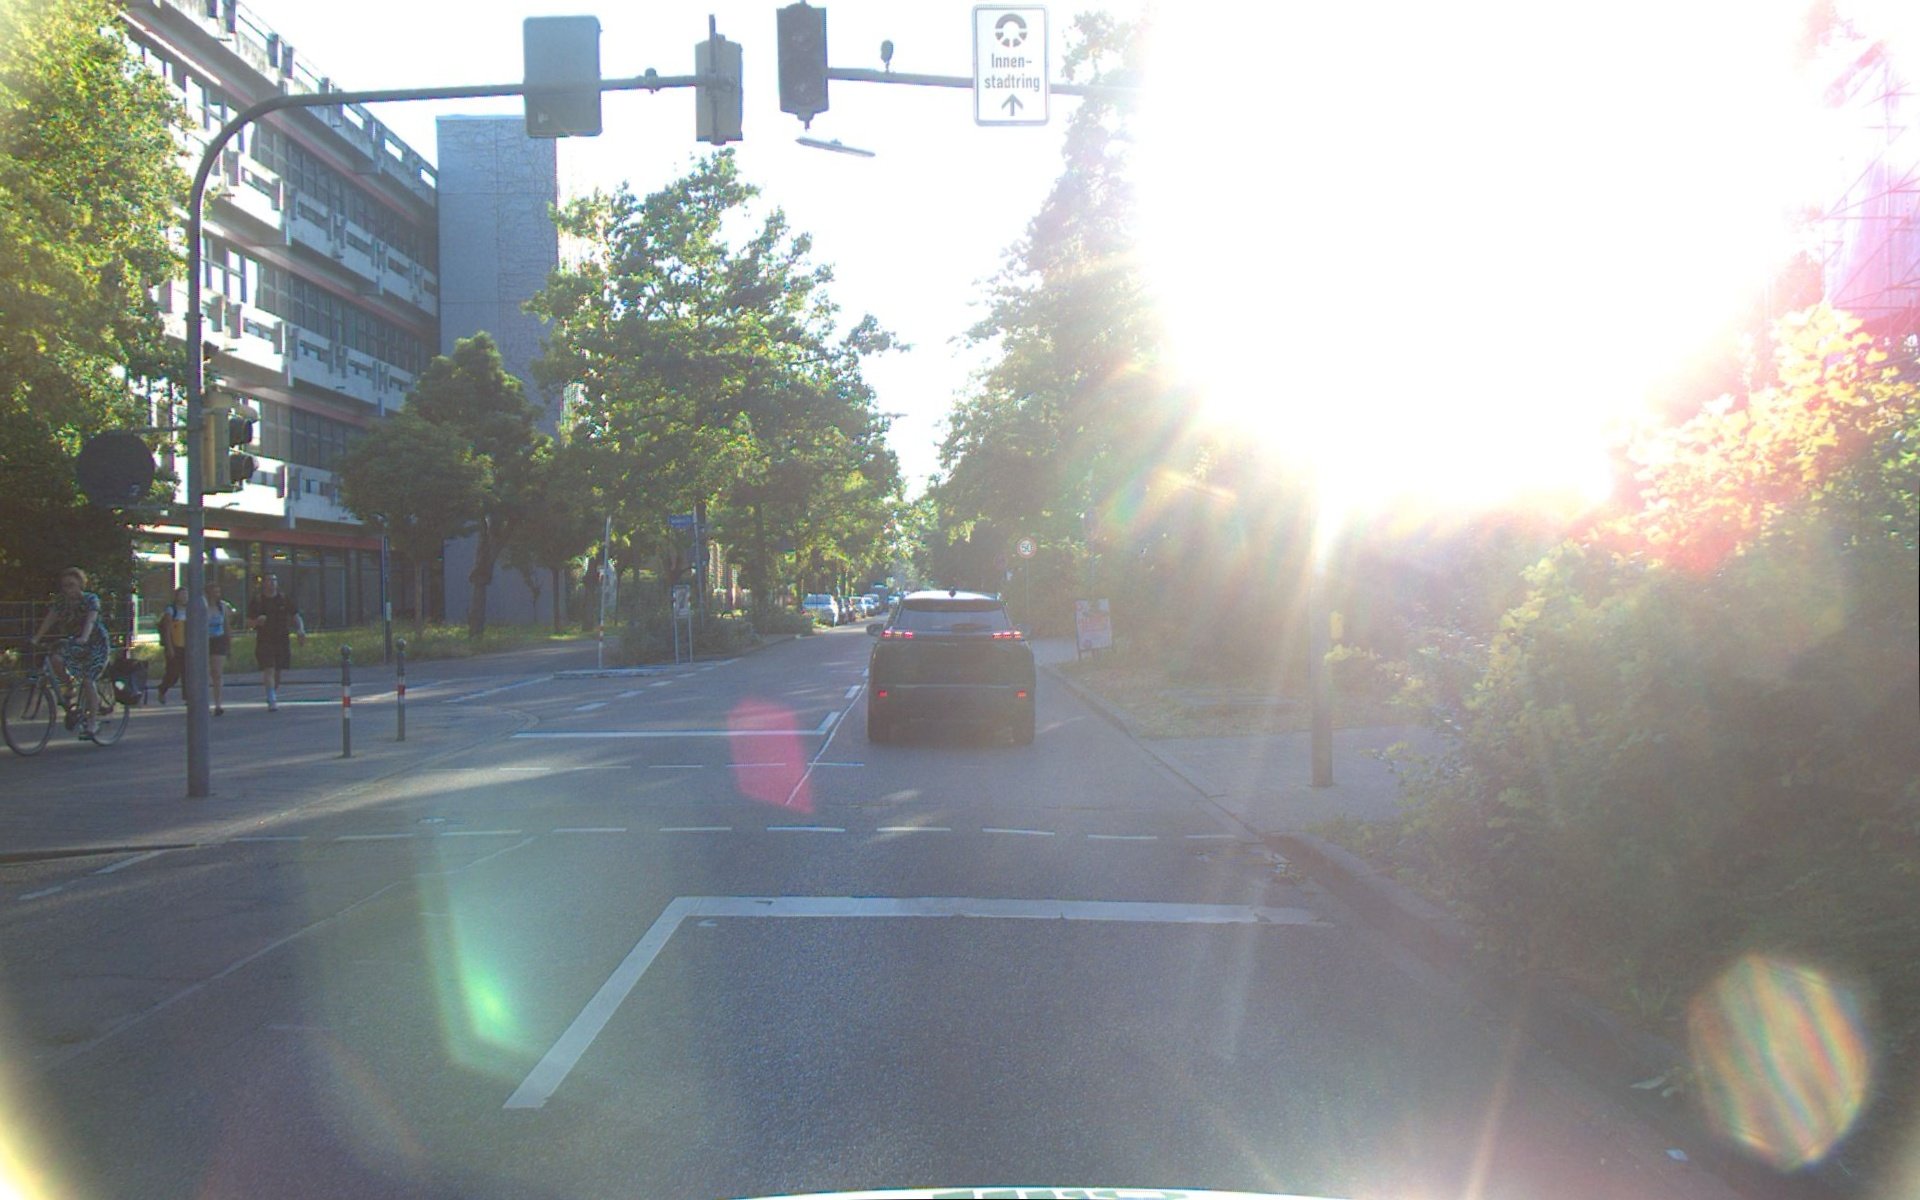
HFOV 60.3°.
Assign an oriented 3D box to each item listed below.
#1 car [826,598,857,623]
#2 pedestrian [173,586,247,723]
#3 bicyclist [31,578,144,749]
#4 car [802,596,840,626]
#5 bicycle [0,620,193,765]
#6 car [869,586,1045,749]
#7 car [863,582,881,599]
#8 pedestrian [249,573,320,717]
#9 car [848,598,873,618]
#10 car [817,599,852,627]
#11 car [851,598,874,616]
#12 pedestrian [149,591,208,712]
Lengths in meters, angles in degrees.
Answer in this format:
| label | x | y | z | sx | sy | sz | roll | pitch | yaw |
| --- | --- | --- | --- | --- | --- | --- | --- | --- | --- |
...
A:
| label | x | y | z | sx | sy | sz | roll | pitch | yaw |
| --- | --- | --- | --- | --- | --- | --- | --- | --- | --- |
| car | -7.141 | 0.622 | 99.227 | 1.775 | 1.378 | 3.996 | -1 | 0 | -5 |
| pedestrian | -9.595 | 0.680 | 21.154 | 0.708 | 1.692 | 0.698 | -2 | 0 | -37 |
| bicyclist | -8.514 | 0.605 | 16.153 | 0.661 | 1.631 | 0.707 | 0 | 0 | 15 |
| car | -6.888 | 0.509 | 81.657 | 1.775 | 1.378 | 3.995 | -1 | 0 | -6 |
| bicycle | -8.529 | 0.849 | 16.108 | 0.672 | 1.271 | 2.194 | 0 | 0 | 15 |
| car | -0.064 | 0.658 | 17.991 | 1.732 | 1.596 | 3.379 | 0 | 0 | -1 |
| car | -9.900 | -1.079 | 186.787 | 1.868 | 1.900 | 3.948 | 0 | 0 | -1 |
| pedestrian | -9.044 | 0.586 | 22.129 | 0.809 | 1.855 | 0.950 | -1 | 0 | -24 |
| car | -7.338 | 0.586 | 121.652 | 1.775 | 1.378 | 3.975 | -1 | 0 | -5 |
| car | -6.691 | 0.656 | 87.907 | 1.775 | 1.378 | 3.996 | -1 | 0 | -5 |
| car | -7.787 | 0.555 | 131.785 | 1.775 | 1.378 | 3.996 | -1 | 0 | -5 |
| pedestrian | -11.191 | 0.721 | 23.692 | 0.704 | 1.692 | 0.761 | -1 | 0 | -24 |
